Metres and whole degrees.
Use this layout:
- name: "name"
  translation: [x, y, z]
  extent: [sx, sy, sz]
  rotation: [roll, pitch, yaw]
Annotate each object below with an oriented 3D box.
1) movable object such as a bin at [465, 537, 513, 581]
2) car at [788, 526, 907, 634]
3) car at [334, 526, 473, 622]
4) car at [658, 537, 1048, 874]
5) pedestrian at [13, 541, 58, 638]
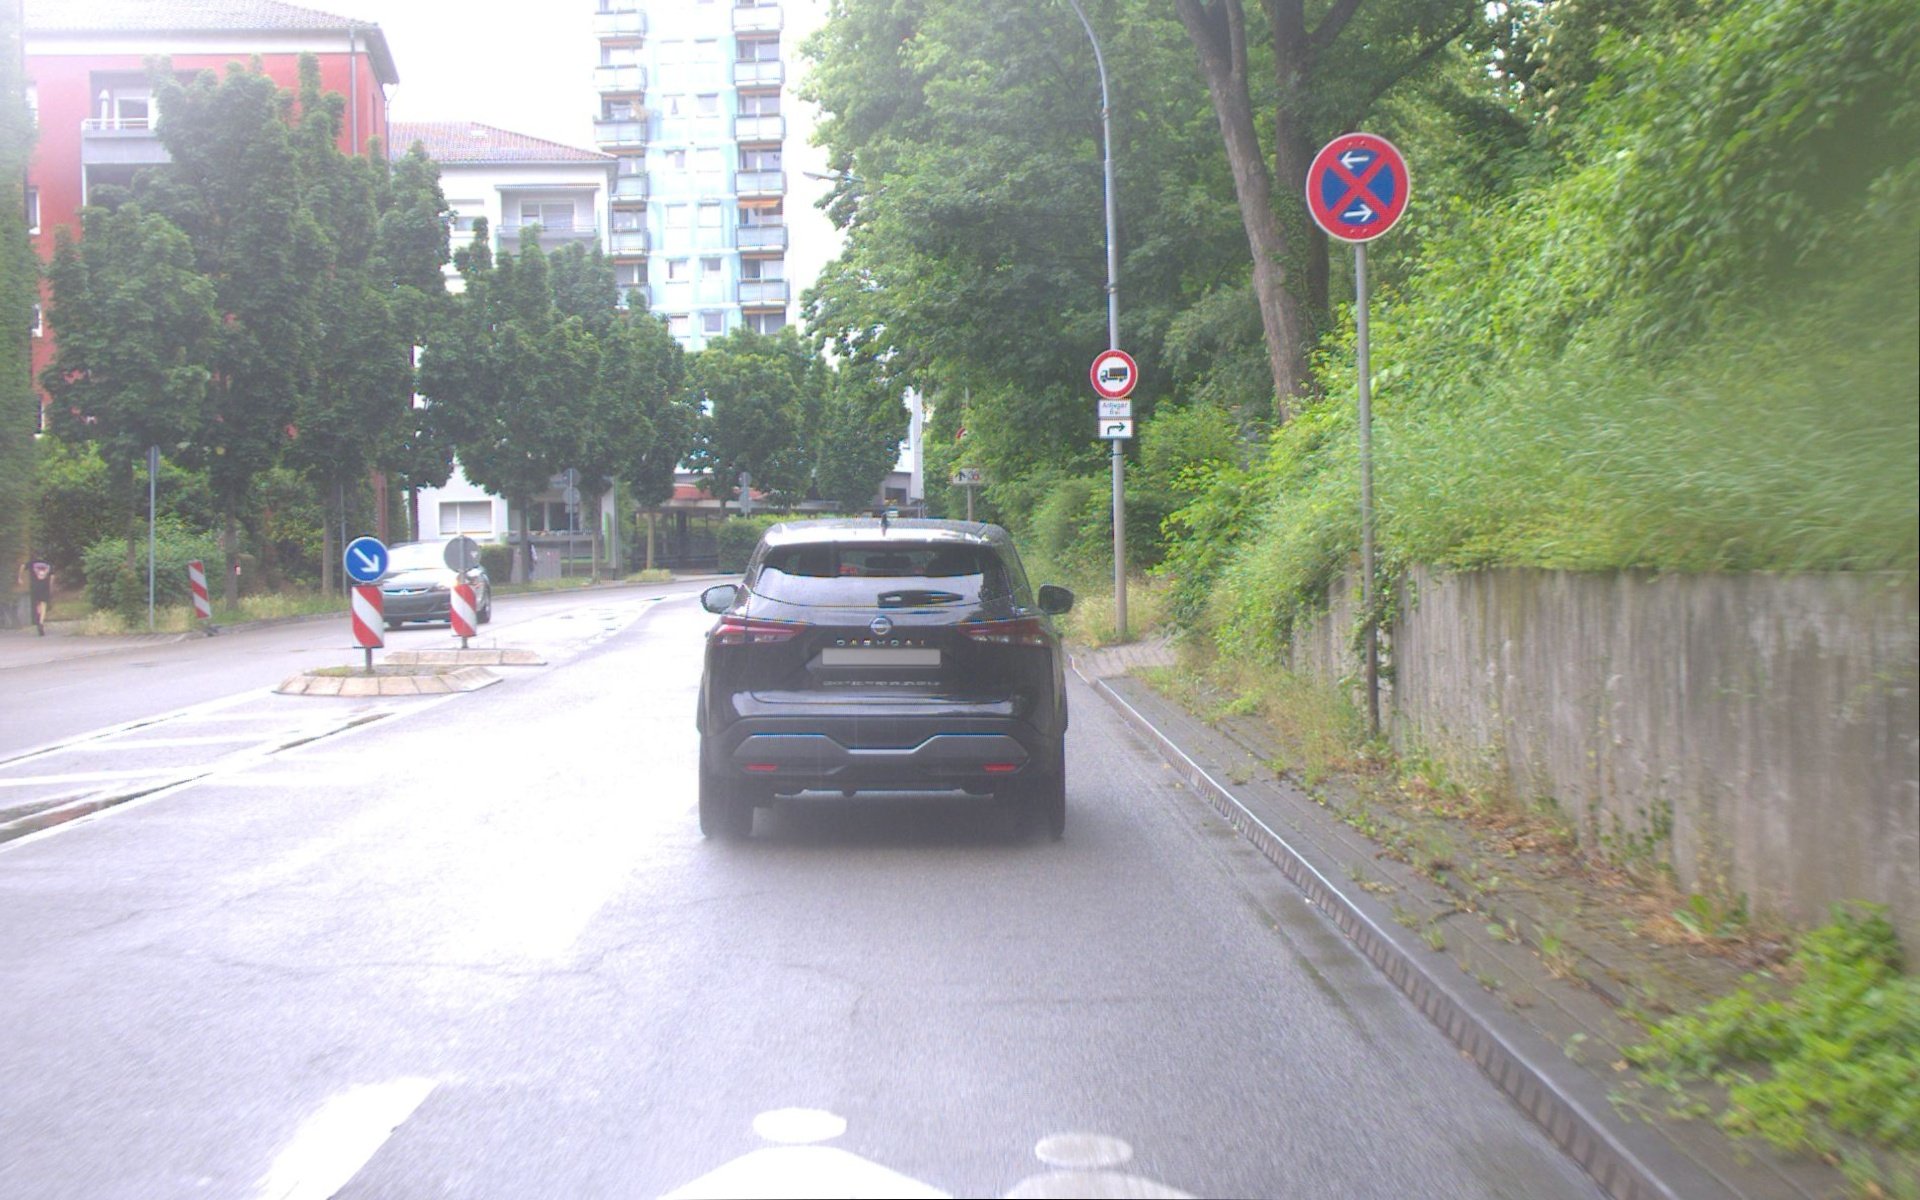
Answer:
- name: "movable object such as a bin"
  translation: [-14.945, -1.312, 109.186]
  extent: [1.321, 1.357, 1.258]
  rotation: [-2, 1, 0]
- name: "car"
  translation: [-1.862, -0.349, 57.160]
  extent: [1.887, 1.705, 4.000]
  rotation: [-1, 1, -2]
- name: "car"
  translation: [-9.514, -0.480, 59.109]
  extent: [1.787, 1.499, 4.649]
  rotation: [-2, 1, -3]
- name: "car"
  translation: [-0.585, 0.463, 18.248]
  extent: [1.844, 1.577, 4.001]
  rotation: [0, 1, -2]
- name: "pedestrian"
  translation: [-16.063, -0.182, 59.738]
  extent: [0.608, 1.668, 0.594]
  rotation: [-2, 1, -4]
